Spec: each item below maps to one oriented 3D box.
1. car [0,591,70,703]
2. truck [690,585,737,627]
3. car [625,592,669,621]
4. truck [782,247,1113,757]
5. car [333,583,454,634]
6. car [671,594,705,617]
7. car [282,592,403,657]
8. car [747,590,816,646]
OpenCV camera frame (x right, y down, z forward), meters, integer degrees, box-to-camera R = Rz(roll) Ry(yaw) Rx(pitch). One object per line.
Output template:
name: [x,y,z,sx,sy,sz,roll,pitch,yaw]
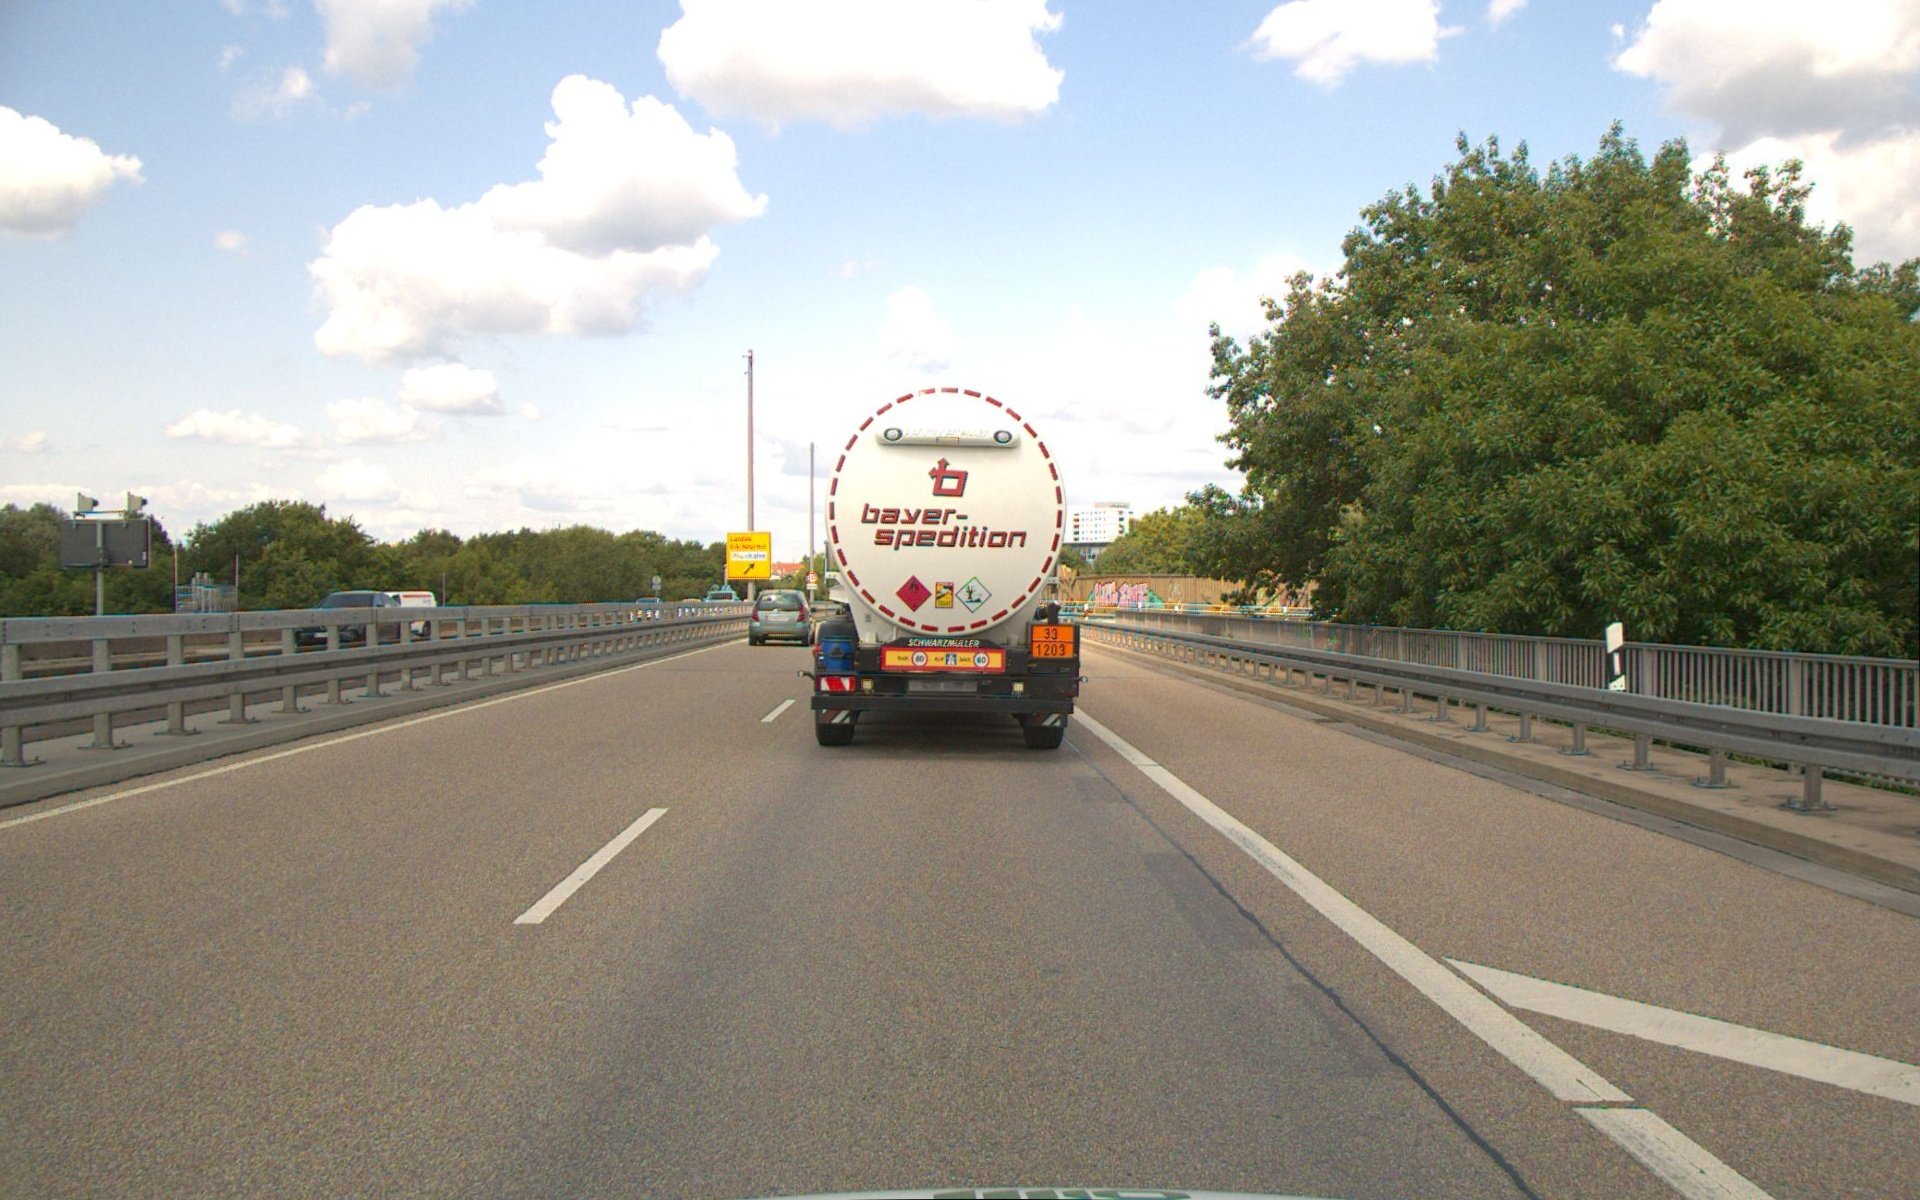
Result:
car: [-15.390,0.695,25.004,1.785,1.667,3.998,1,0,-2]
truck: [-13.778,0.311,92.756,1.834,2.225,5.187,1,0,0]
car: [-18.316,0.375,96.979,1.792,1.609,3.953,1,0,0]
truck: [-0.264,-0.868,18.673,2.837,4.445,8.025,1,0,-2]
car: [-22.525,0.339,66.021,1.951,1.931,5.172,1,0,15]
car: [-18.759,0.365,114.258,1.864,1.555,4.240,1,0,-4]
car: [-17.049,0.633,45.883,1.853,1.668,4.509,1,0,-4]
car: [-5.195,0.500,48.550,1.712,1.558,3.998,0,0,-2]
